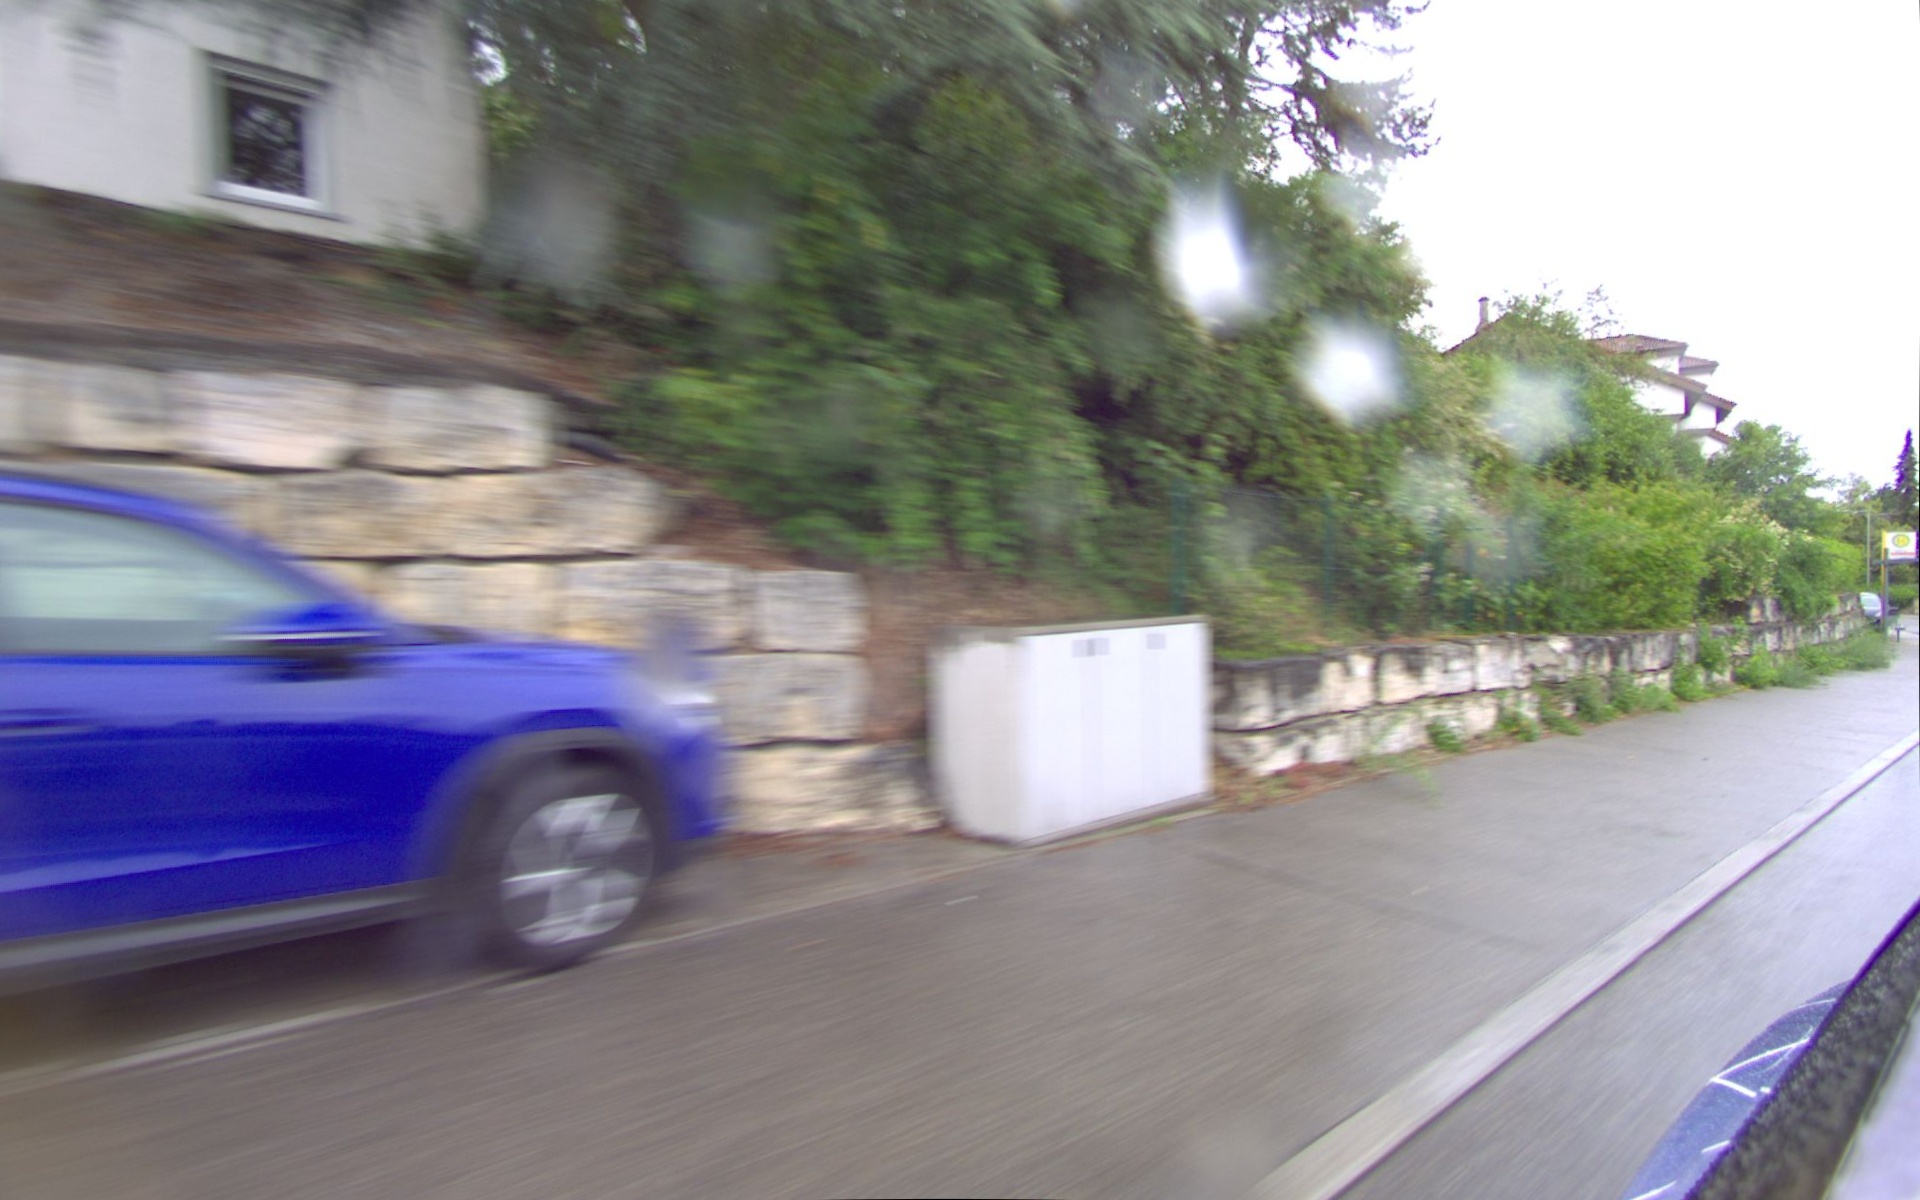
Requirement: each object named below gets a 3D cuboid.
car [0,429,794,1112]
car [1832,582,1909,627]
[{"bbox_3d":[-2.984,0.371,3.266,4.468,1.690,1.997,-1,3,-43],"label":"car"},{"bbox_3d":[32.576,0.126,36.304,1.702,1.472,3.966,4,3,38],"label":"car"}]
